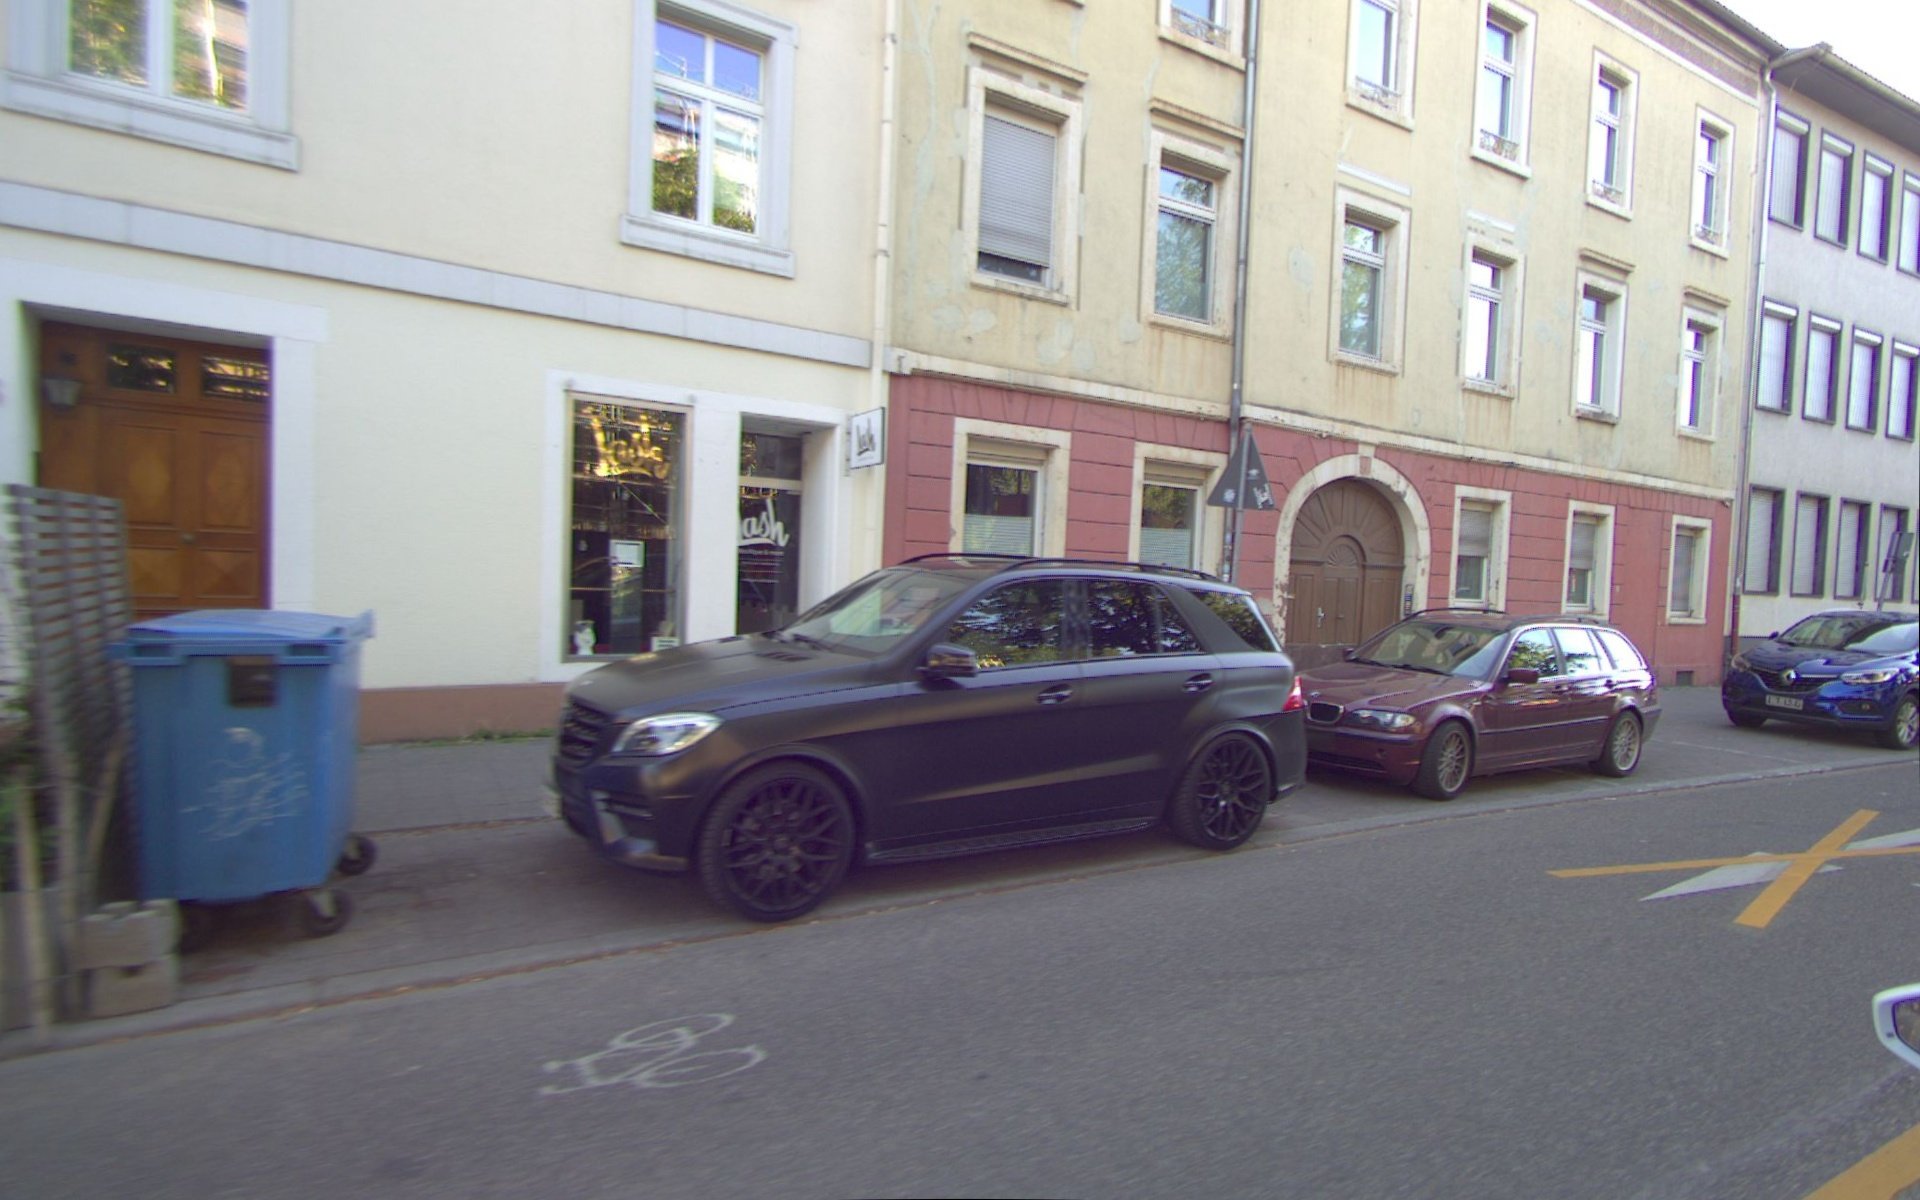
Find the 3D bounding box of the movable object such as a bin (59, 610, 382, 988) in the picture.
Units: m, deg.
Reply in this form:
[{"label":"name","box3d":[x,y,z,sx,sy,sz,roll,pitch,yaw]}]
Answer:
[{"label":"movable object such as a bin","box3d":[-3.074,0.727,4.337,0.918,1.313,1.211,1,1,-28]}]

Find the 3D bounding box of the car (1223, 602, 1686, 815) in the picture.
[{"label":"car","box3d":[4.581,0.831,9.118,4.377,1.500,1.645,1,1,-31]}]

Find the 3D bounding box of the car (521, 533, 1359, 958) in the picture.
[{"label":"car","box3d":[0.040,0.607,6.067,4.730,1.702,1.912,1,1,-31]}]

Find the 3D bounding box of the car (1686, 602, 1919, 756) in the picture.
[{"label":"car","box3d":[11.822,0.943,13.219,4.291,1.690,1.926,1,1,-27]}]
